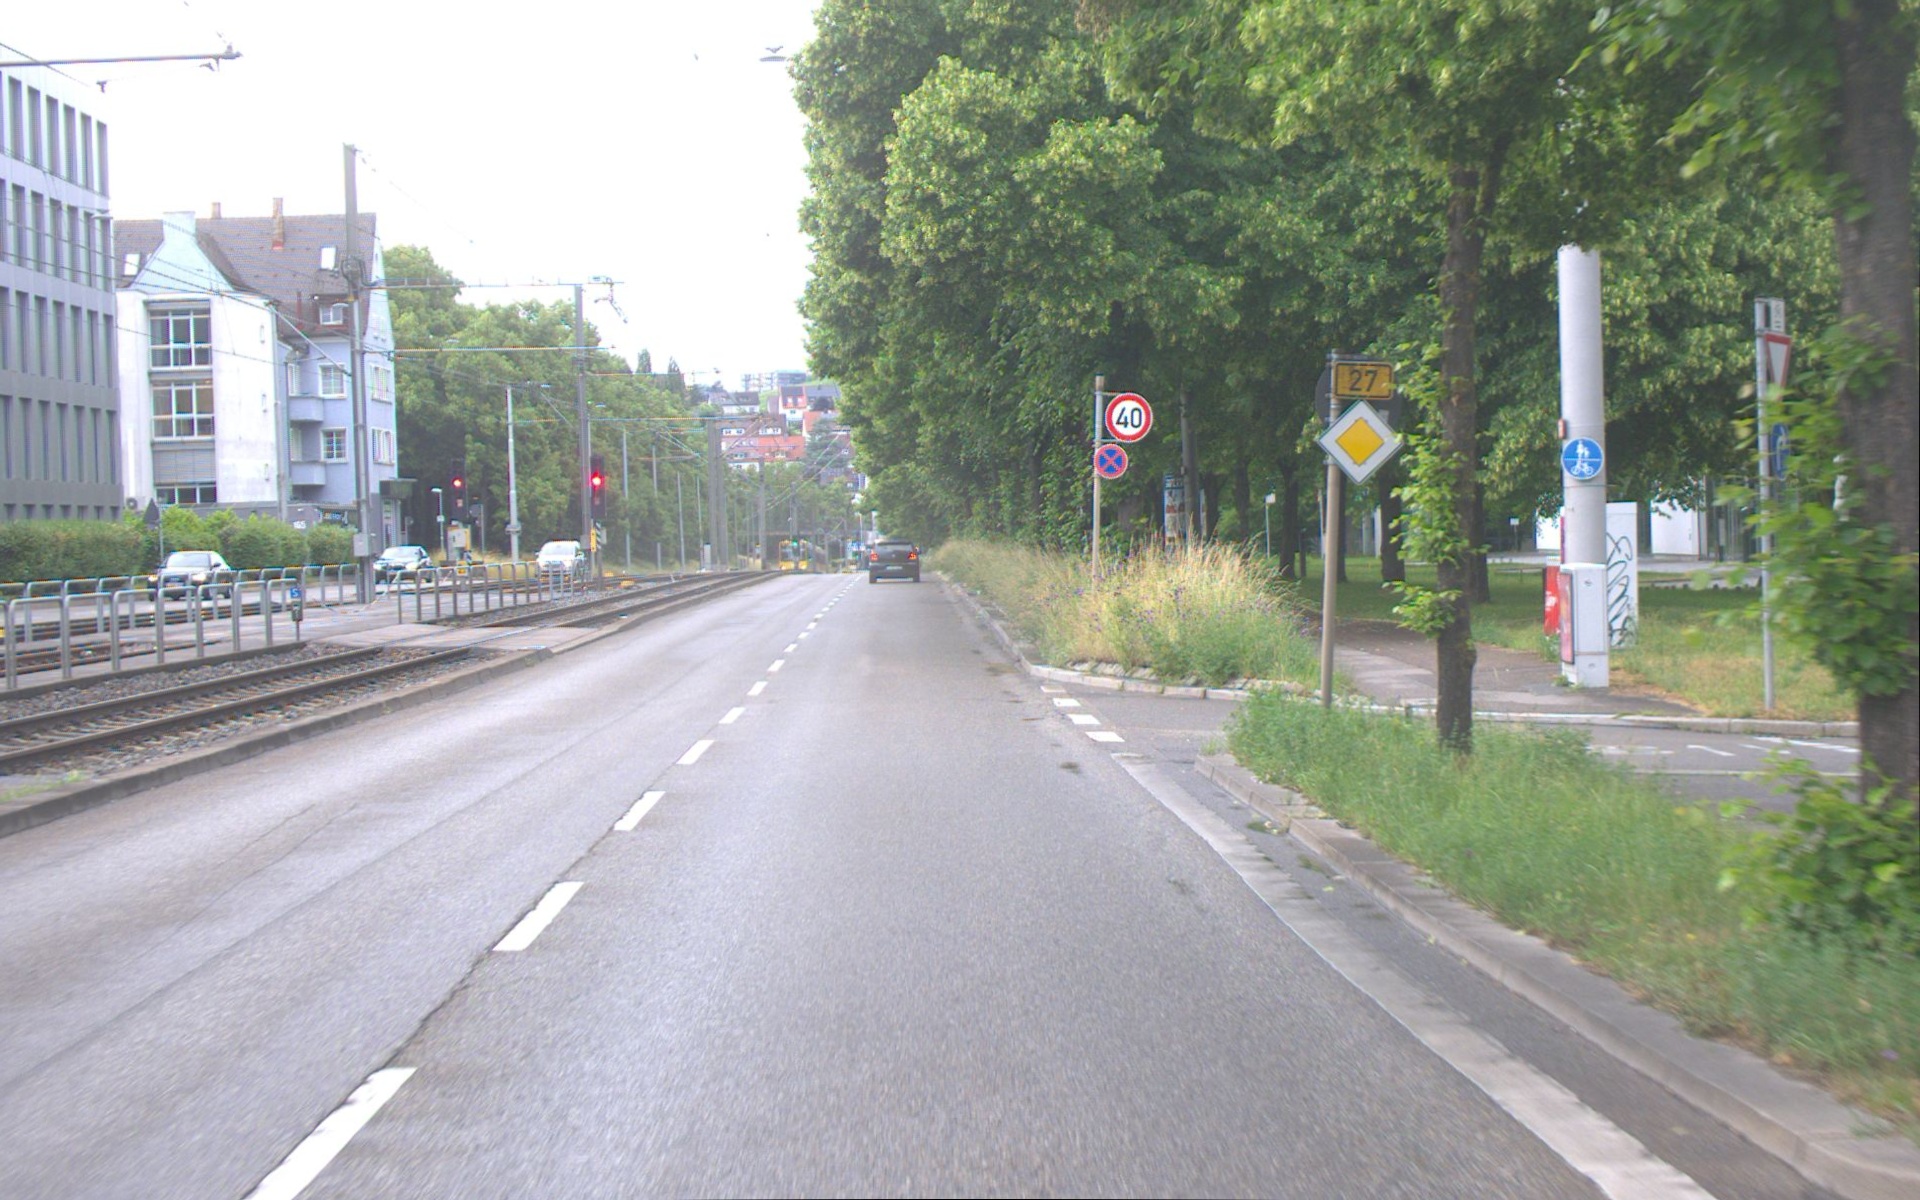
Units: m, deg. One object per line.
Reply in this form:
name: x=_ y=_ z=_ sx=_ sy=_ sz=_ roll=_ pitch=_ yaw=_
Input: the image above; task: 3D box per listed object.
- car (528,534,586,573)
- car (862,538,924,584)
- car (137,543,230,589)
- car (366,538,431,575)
car: x=-17.938 y=-2.083 z=153.186 sx=1.902 sy=1.639 sz=4.884 roll=-1 pitch=1 yaw=0
car: x=-2.202 y=-1.294 z=113.851 sx=1.982 sy=1.436 sz=4.474 roll=-1 pitch=1 yaw=-1
car: x=-21.868 y=-0.963 z=96.921 sx=1.756 sy=1.239 sz=3.988 roll=-1 pitch=1 yaw=-1
car: x=-21.415 y=-1.662 z=131.199 sx=1.798 sy=1.342 sz=4.259 roll=-1 pitch=1 yaw=-1
